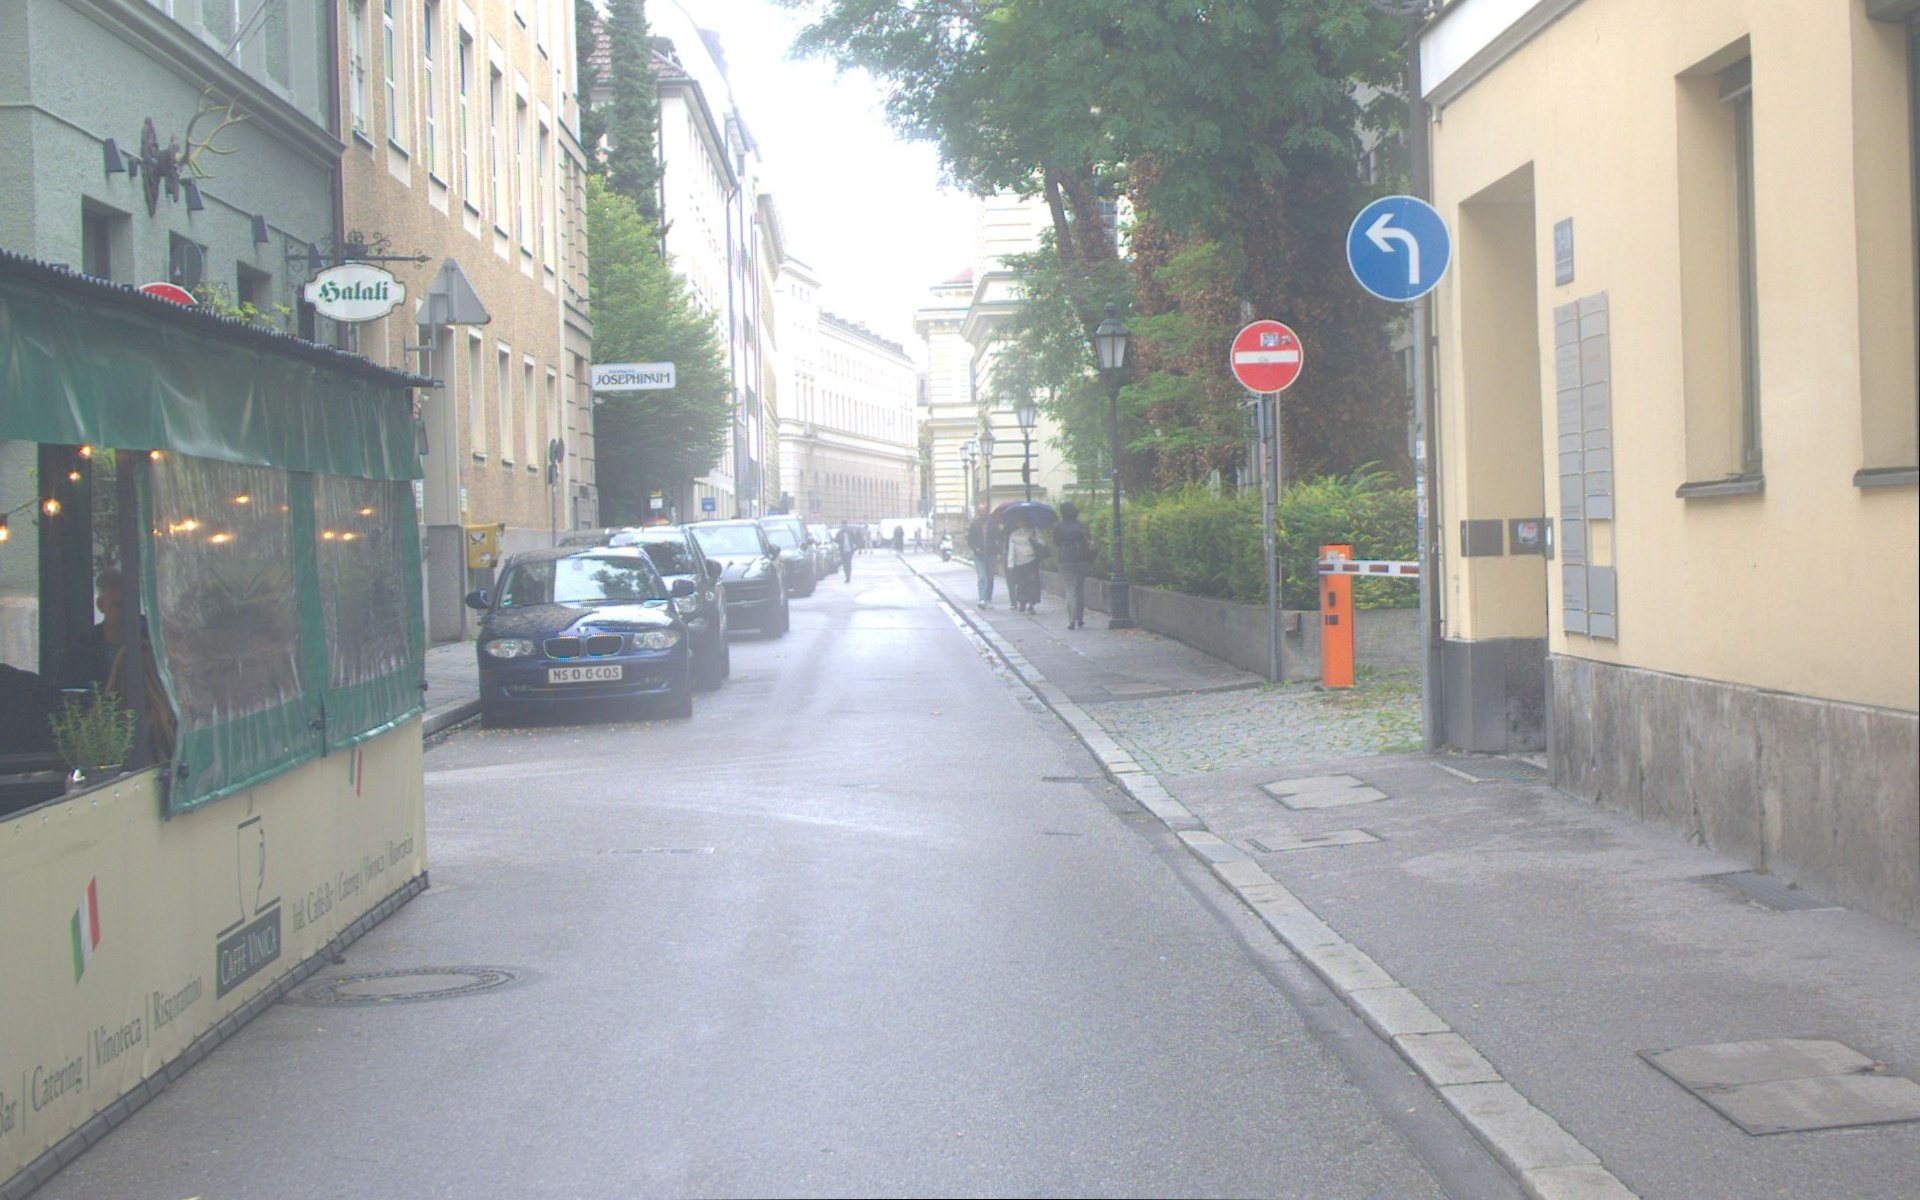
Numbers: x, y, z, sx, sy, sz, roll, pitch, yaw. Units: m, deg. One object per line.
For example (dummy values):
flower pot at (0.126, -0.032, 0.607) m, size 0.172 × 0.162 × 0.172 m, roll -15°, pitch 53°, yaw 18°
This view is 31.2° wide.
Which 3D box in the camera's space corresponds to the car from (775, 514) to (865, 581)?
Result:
car at (-3.147, -1.201, 77.790) m, size 1.779 × 1.461 × 3.542 m, roll 0°, pitch 1°, yaw 2°

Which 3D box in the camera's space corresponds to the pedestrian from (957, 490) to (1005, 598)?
pedestrian at (0.348, -0.948, 57.870) m, size 0.793 × 1.796 × 0.903 m, roll 0°, pitch 1°, yaw 0°

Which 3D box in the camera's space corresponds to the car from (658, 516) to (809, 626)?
car at (-3.126, -0.436, 48.065) m, size 1.779 × 1.461 × 3.542 m, roll 0°, pitch 1°, yaw 2°

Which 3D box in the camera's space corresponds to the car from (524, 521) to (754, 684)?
car at (-3.035, -0.012, 33.112) m, size 1.779 × 1.461 × 3.542 m, roll 0°, pitch 1°, yaw 2°

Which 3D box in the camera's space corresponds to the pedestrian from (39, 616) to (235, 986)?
pedestrian at (-2.724, 0.649, 11.419) m, size 0.509 × 1.171 × 0.631 m, roll -1°, pitch 1°, yaw -3°

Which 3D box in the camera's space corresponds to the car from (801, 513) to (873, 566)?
car at (-3.419, -1.711, 96.385) m, size 1.779 × 1.461 × 3.542 m, roll 0°, pitch 1°, yaw 2°

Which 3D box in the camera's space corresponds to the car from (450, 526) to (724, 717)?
car at (-3.035, 0.128, 28.650) m, size 1.779 × 1.461 × 3.663 m, roll 0°, pitch 1°, yaw 2°

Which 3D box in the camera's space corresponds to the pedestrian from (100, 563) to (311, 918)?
pedestrian at (-2.903, 0.525, 13.276) m, size 0.673 × 1.322 × 0.696 m, roll -1°, pitch 1°, yaw -3°

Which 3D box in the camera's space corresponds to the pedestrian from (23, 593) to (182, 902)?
pedestrian at (-3.543, 0.598, 14.236) m, size 0.509 × 1.233 × 0.631 m, roll -1°, pitch 1°, yaw -3°

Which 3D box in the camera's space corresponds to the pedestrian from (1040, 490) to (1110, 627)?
pedestrian at (1.529, -0.563, 45.807) m, size 0.880 × 1.796 × 1.046 m, roll 0°, pitch 1°, yaw 0°

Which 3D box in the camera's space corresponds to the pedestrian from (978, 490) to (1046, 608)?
pedestrian at (0.798, -0.795, 53.373) m, size 1.015 × 1.796 × 1.349 m, roll 0°, pitch 1°, yaw 0°

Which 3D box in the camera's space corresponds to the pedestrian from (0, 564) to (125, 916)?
pedestrian at (-3.662, 0.528, 13.369) m, size 0.673 × 1.322 × 0.696 m, roll -1°, pitch 1°, yaw -3°
